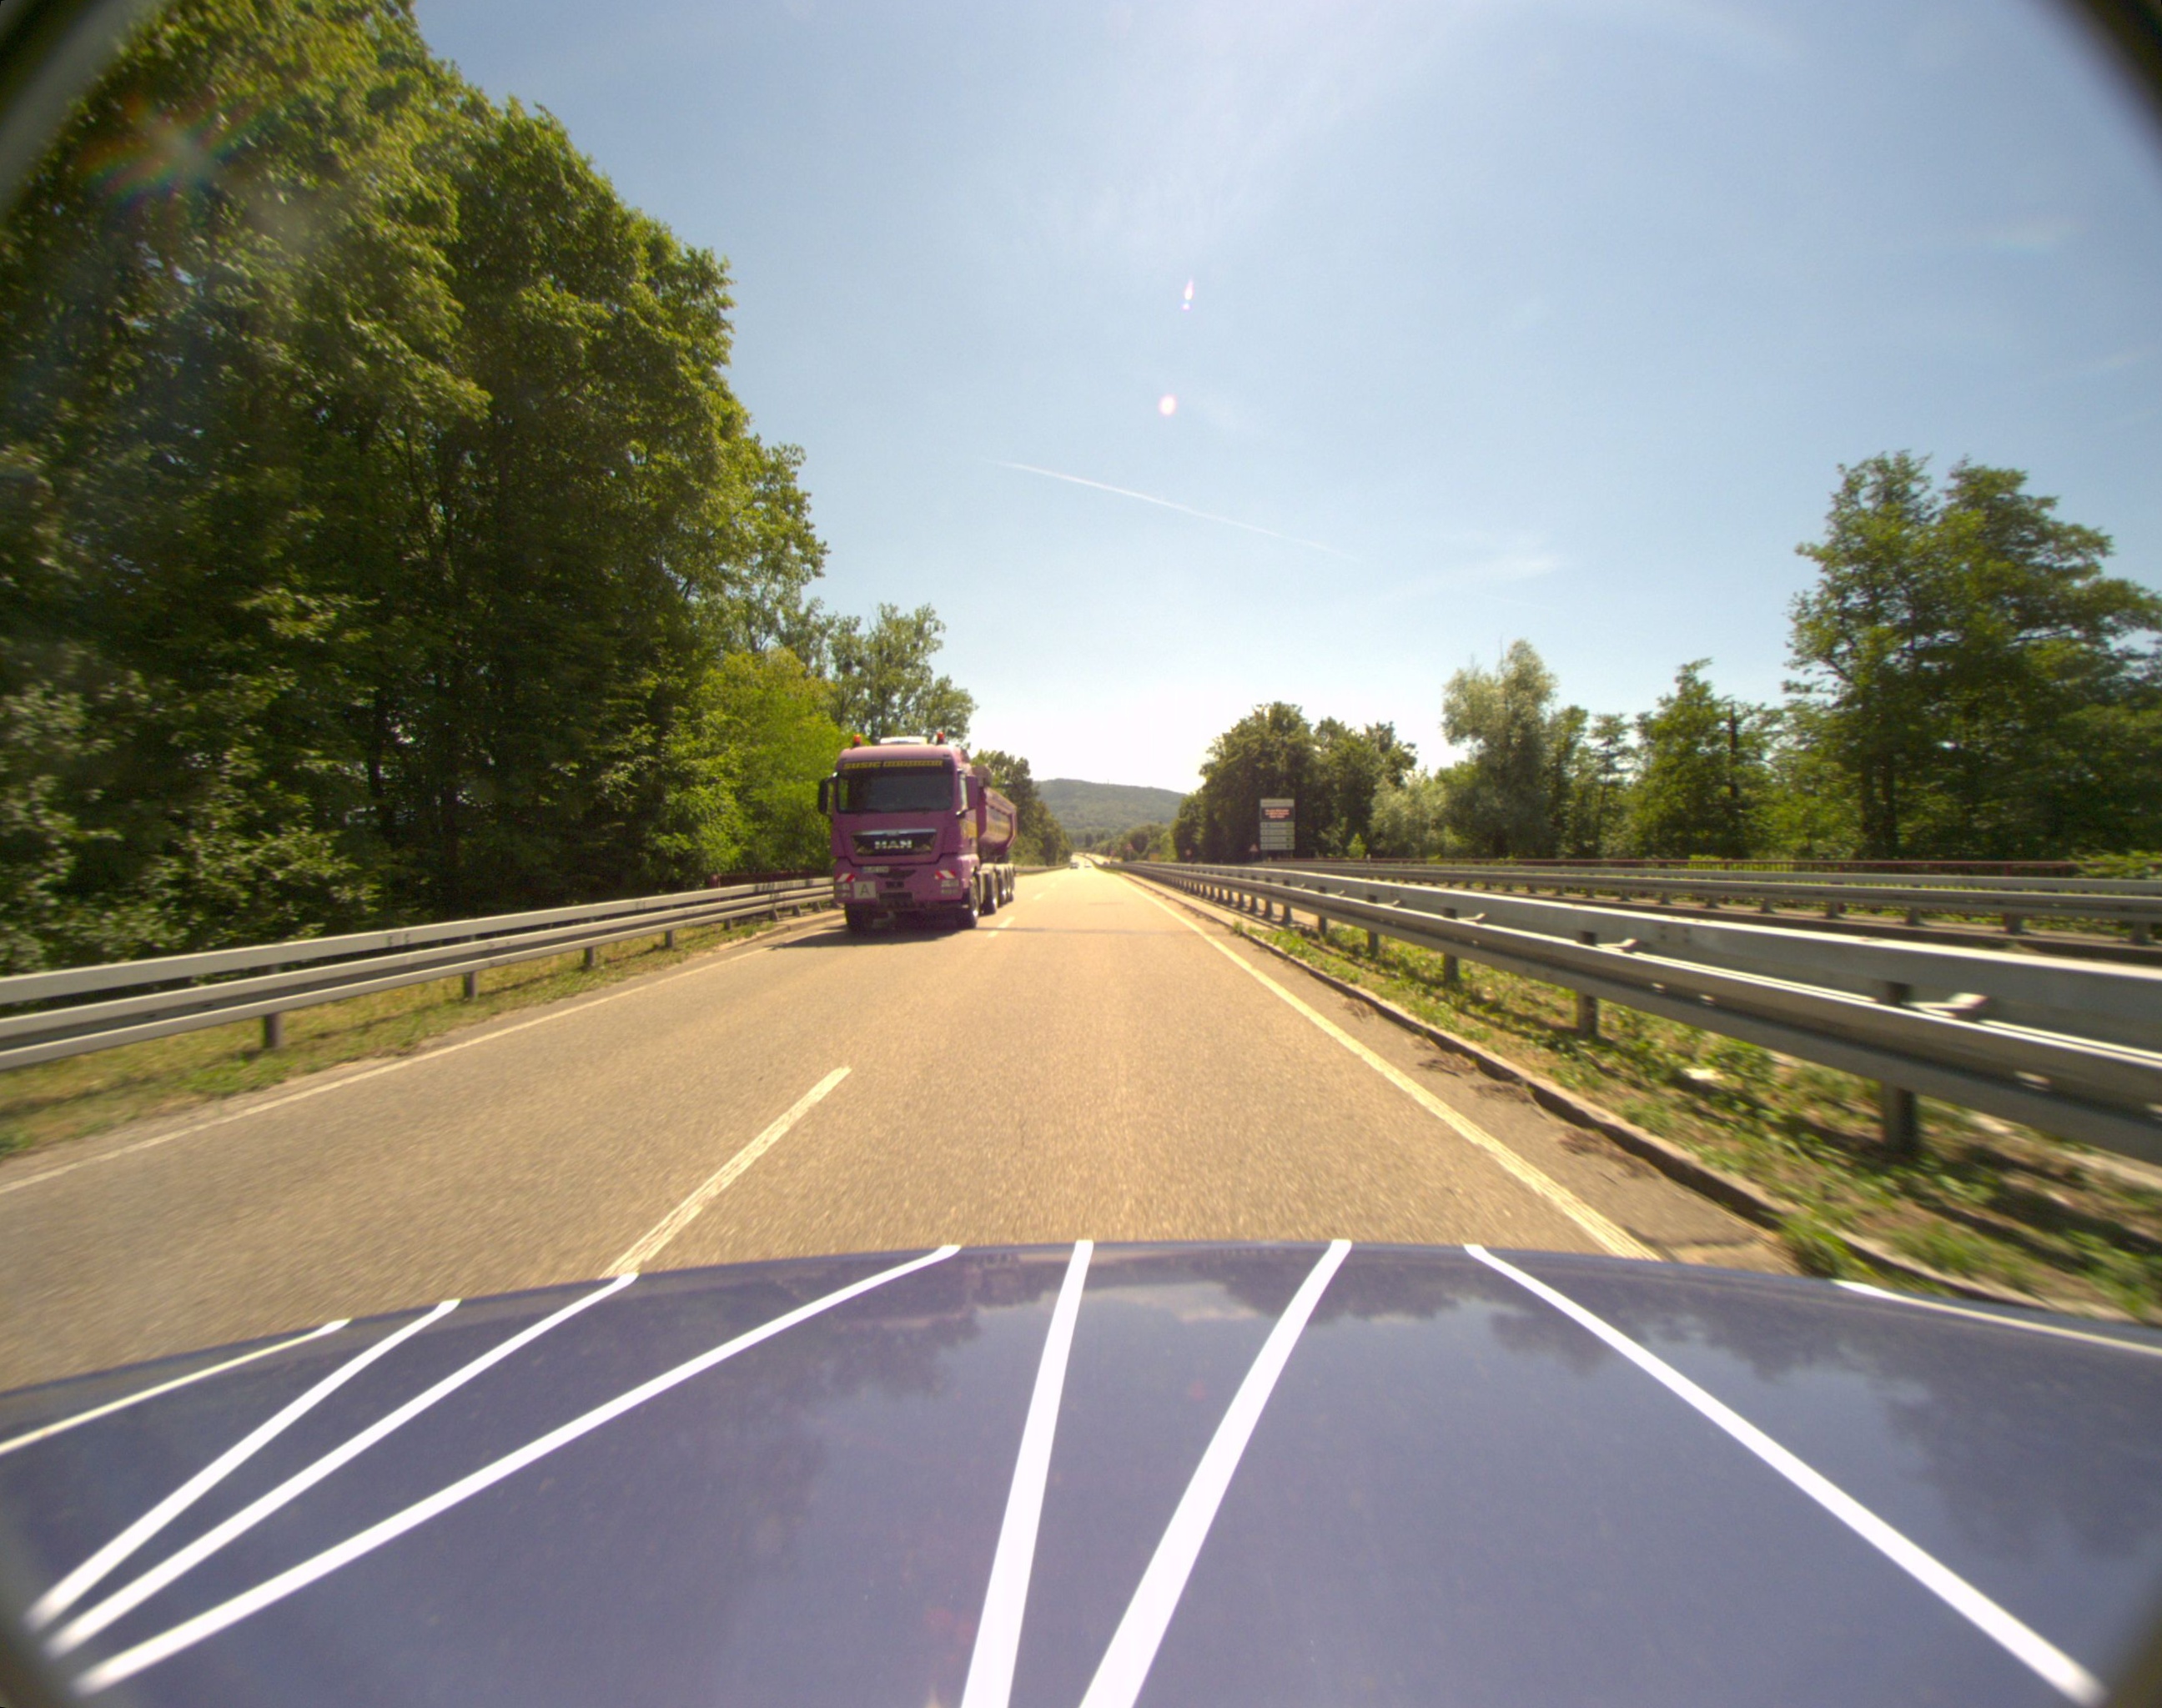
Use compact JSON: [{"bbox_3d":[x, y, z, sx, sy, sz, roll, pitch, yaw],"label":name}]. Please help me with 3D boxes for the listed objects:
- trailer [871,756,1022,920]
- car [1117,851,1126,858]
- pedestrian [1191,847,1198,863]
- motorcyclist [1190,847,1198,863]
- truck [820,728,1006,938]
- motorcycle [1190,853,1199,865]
[{"bbox_3d":[-3.354,-0.362,21.435,2.605,3.608,8.613,-2,0,0],"label":"trailer"},{"bbox_3d":[9.721,0.233,183.449,1.998,1.652,4.389,-1,0,1],"label":"car"},{"bbox_3d":[11.258,0.101,75.260,0.616,1.531,0.494,-1,1,1],"label":"pedestrian"},{"bbox_3d":[11.268,0.095,75.920,0.616,1.531,0.776,-1,1,1],"label":"motorcyclist"},{"bbox_3d":[-3.299,-0.369,16.561,2.605,3.670,5.938,-2,0,0],"label":"truck"},{"bbox_3d":[11.258,0.479,75.592,0.616,1.097,2.313,-1,0,1],"label":"motorcycle"}]
